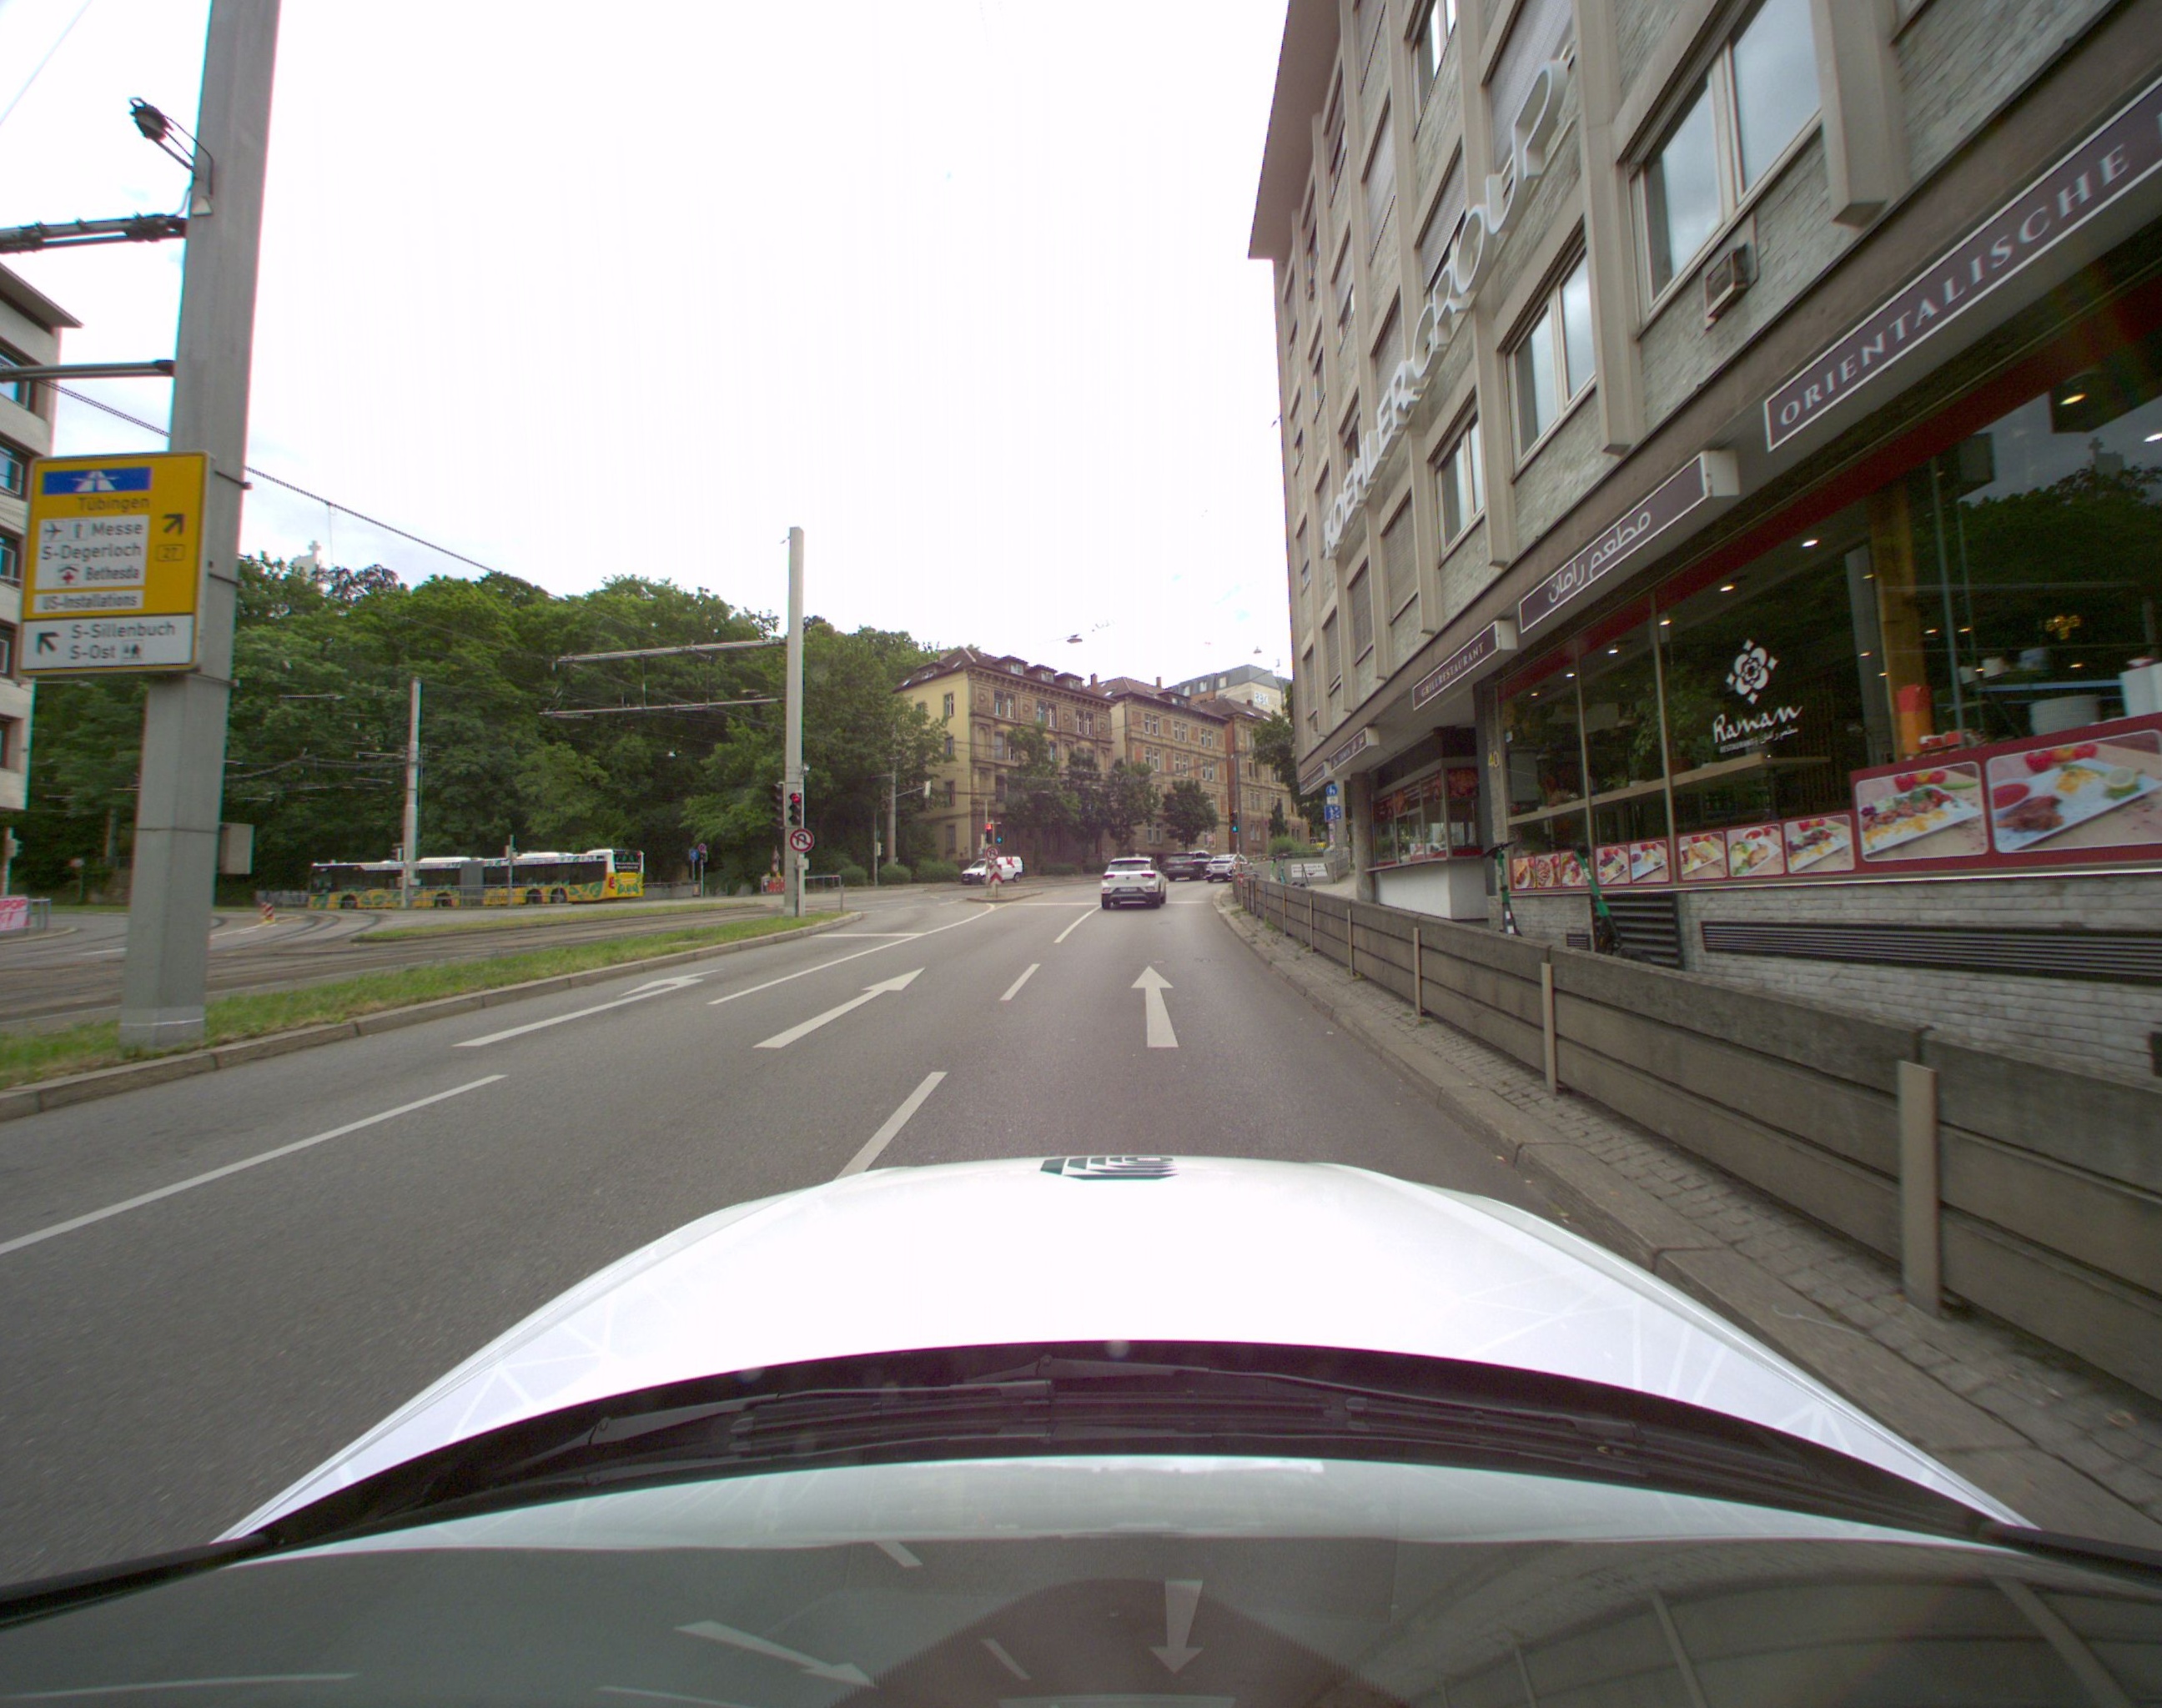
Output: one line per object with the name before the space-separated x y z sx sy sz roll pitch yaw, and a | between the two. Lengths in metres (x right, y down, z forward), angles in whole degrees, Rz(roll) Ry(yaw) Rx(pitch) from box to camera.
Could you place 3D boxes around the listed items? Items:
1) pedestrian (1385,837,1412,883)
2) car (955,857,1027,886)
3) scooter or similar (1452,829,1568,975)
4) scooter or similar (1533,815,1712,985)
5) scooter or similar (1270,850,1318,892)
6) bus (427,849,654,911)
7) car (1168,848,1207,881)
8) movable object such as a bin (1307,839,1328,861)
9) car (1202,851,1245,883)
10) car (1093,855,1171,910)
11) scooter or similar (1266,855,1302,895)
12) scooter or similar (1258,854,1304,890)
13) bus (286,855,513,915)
pedestrian | 13.030 0.233 33.403 0.826 1.810 1.157 3 1 27
car | -6.415 1.238 58.534 1.974 1.850 5.024 -5 -3 41
scooter or similar | 4.652 0.495 8.911 0.665 1.475 1.180 -2 -1 4
scooter or similar | 4.395 0.345 6.721 0.628 1.249 1.335 -2 -1 4
scooter or similar | 6.846 0.529 26.152 1.449 1.254 0.552 -3 0 -27
bus | -30.836 1.483 46.639 11.443 3.029 3.398 -2 -1 9
car | 6.109 0.565 46.450 1.827 1.739 4.014 -2 0 12
movable object such as a bin | 31.890 -0.569 109.978 1.974 2.838 2.043 -4 -2 36
car | 7.604 0.699 43.232 1.888 1.574 3.849 0 -1 15
car | 1.709 0.861 25.942 1.926 1.566 4.058 -1 -1 11
scooter or similar | 6.142 0.623 24.645 1.013 1.182 0.373 -1 -1 -27
scooter or similar | 6.818 0.613 27.738 1.448 1.182 0.578 -1 -1 -27
bus | -39.900 1.777 47.847 11.264 3.043 3.331 -2 -1 7
